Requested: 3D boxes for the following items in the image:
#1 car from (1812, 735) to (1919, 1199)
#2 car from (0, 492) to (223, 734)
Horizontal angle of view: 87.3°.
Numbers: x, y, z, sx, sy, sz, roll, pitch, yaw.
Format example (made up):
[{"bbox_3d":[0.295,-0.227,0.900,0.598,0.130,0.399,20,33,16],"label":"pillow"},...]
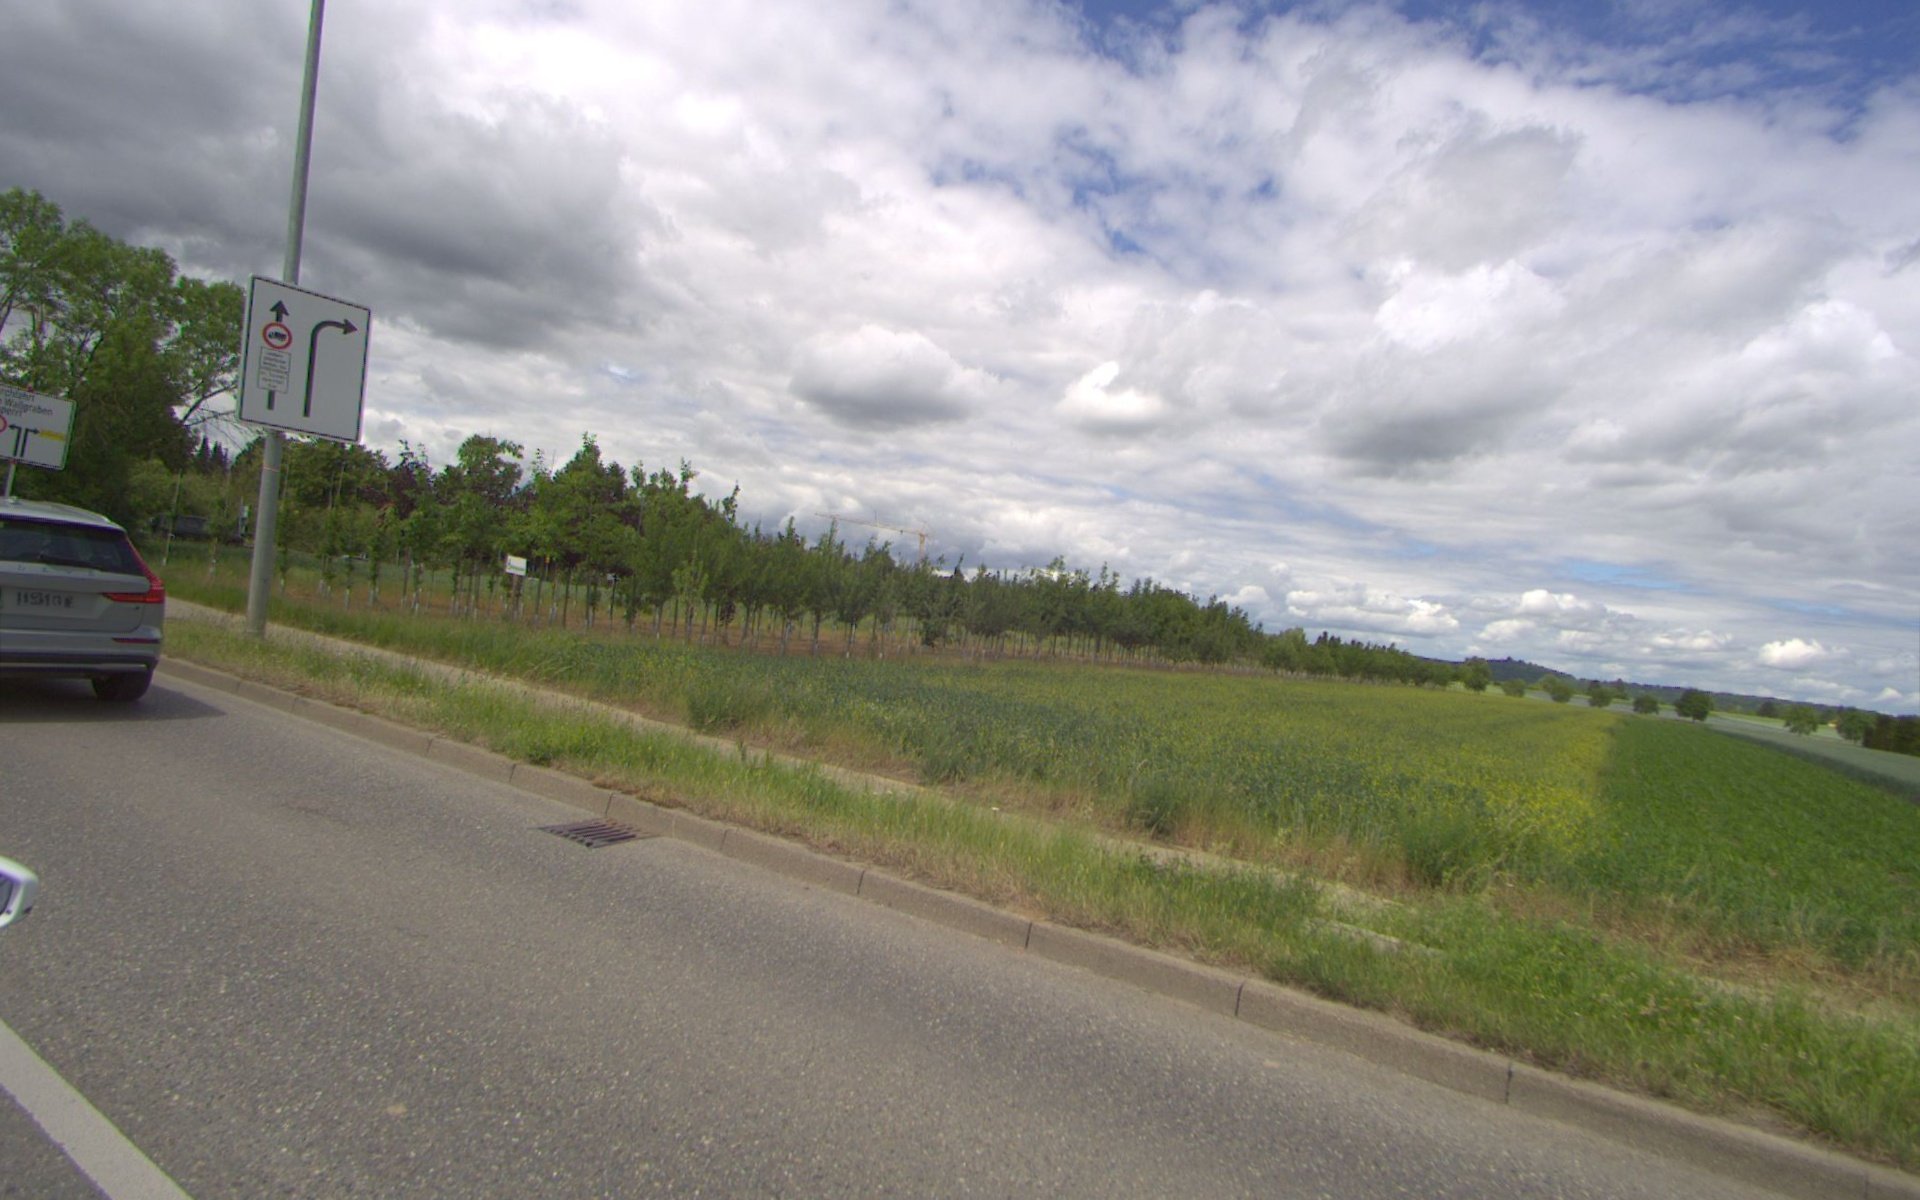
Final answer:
[{"bbox_3d":[4.060,1.276,0.572,5.112,1.458,1.875,7,0,31],"label":"car"},{"bbox_3d":[-7.856,-0.109,7.760,4.372,1.537,1.865,7,0,31],"label":"car"}]
